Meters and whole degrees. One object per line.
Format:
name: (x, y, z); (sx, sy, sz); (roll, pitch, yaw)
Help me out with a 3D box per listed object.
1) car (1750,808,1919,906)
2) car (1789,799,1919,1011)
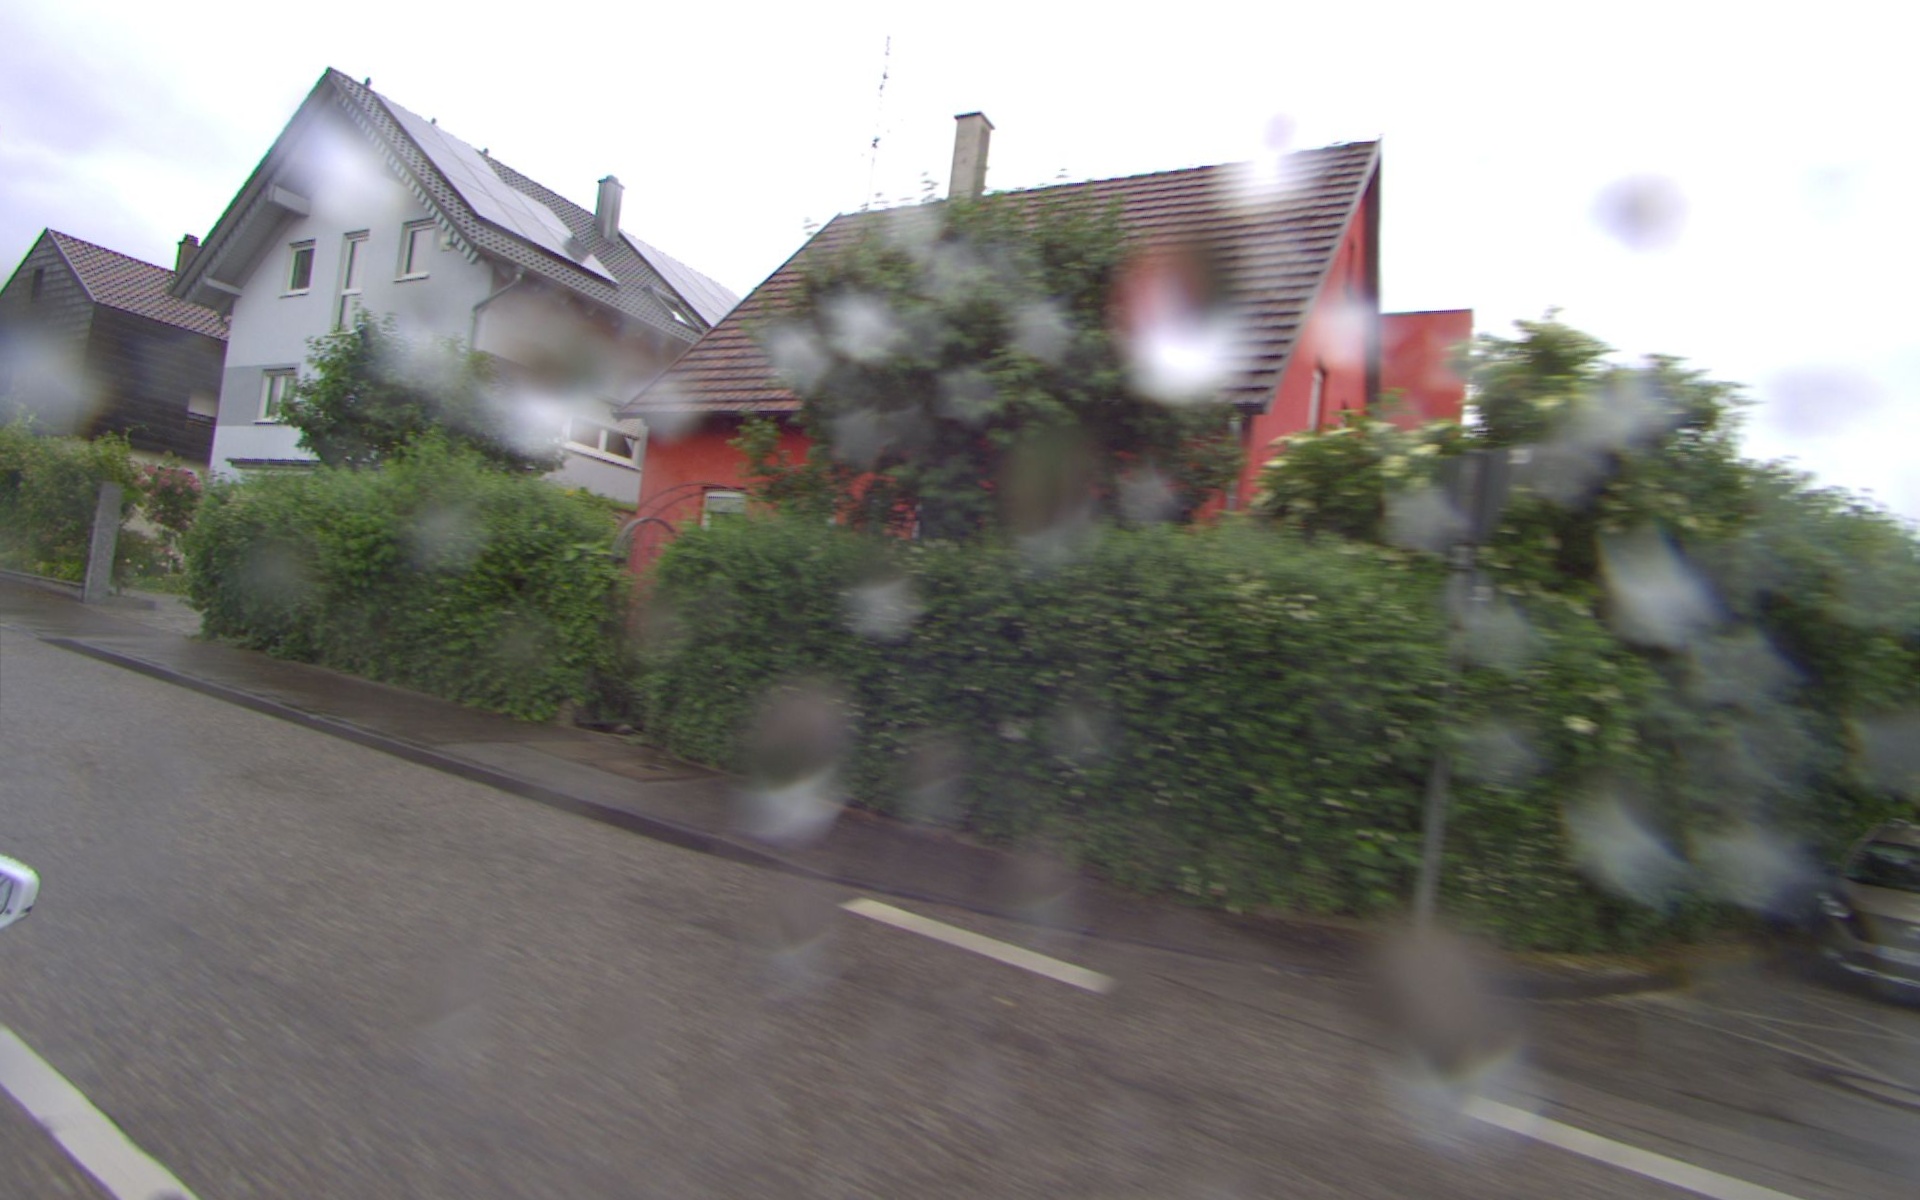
car: (19.046, 5.456, 21.362); (1.503, 1.310, 3.151); (10, -2, -31)
car: (10.546, 3.323, 10.760); (4.271, 1.767, 1.768); (14, -5, -40)
